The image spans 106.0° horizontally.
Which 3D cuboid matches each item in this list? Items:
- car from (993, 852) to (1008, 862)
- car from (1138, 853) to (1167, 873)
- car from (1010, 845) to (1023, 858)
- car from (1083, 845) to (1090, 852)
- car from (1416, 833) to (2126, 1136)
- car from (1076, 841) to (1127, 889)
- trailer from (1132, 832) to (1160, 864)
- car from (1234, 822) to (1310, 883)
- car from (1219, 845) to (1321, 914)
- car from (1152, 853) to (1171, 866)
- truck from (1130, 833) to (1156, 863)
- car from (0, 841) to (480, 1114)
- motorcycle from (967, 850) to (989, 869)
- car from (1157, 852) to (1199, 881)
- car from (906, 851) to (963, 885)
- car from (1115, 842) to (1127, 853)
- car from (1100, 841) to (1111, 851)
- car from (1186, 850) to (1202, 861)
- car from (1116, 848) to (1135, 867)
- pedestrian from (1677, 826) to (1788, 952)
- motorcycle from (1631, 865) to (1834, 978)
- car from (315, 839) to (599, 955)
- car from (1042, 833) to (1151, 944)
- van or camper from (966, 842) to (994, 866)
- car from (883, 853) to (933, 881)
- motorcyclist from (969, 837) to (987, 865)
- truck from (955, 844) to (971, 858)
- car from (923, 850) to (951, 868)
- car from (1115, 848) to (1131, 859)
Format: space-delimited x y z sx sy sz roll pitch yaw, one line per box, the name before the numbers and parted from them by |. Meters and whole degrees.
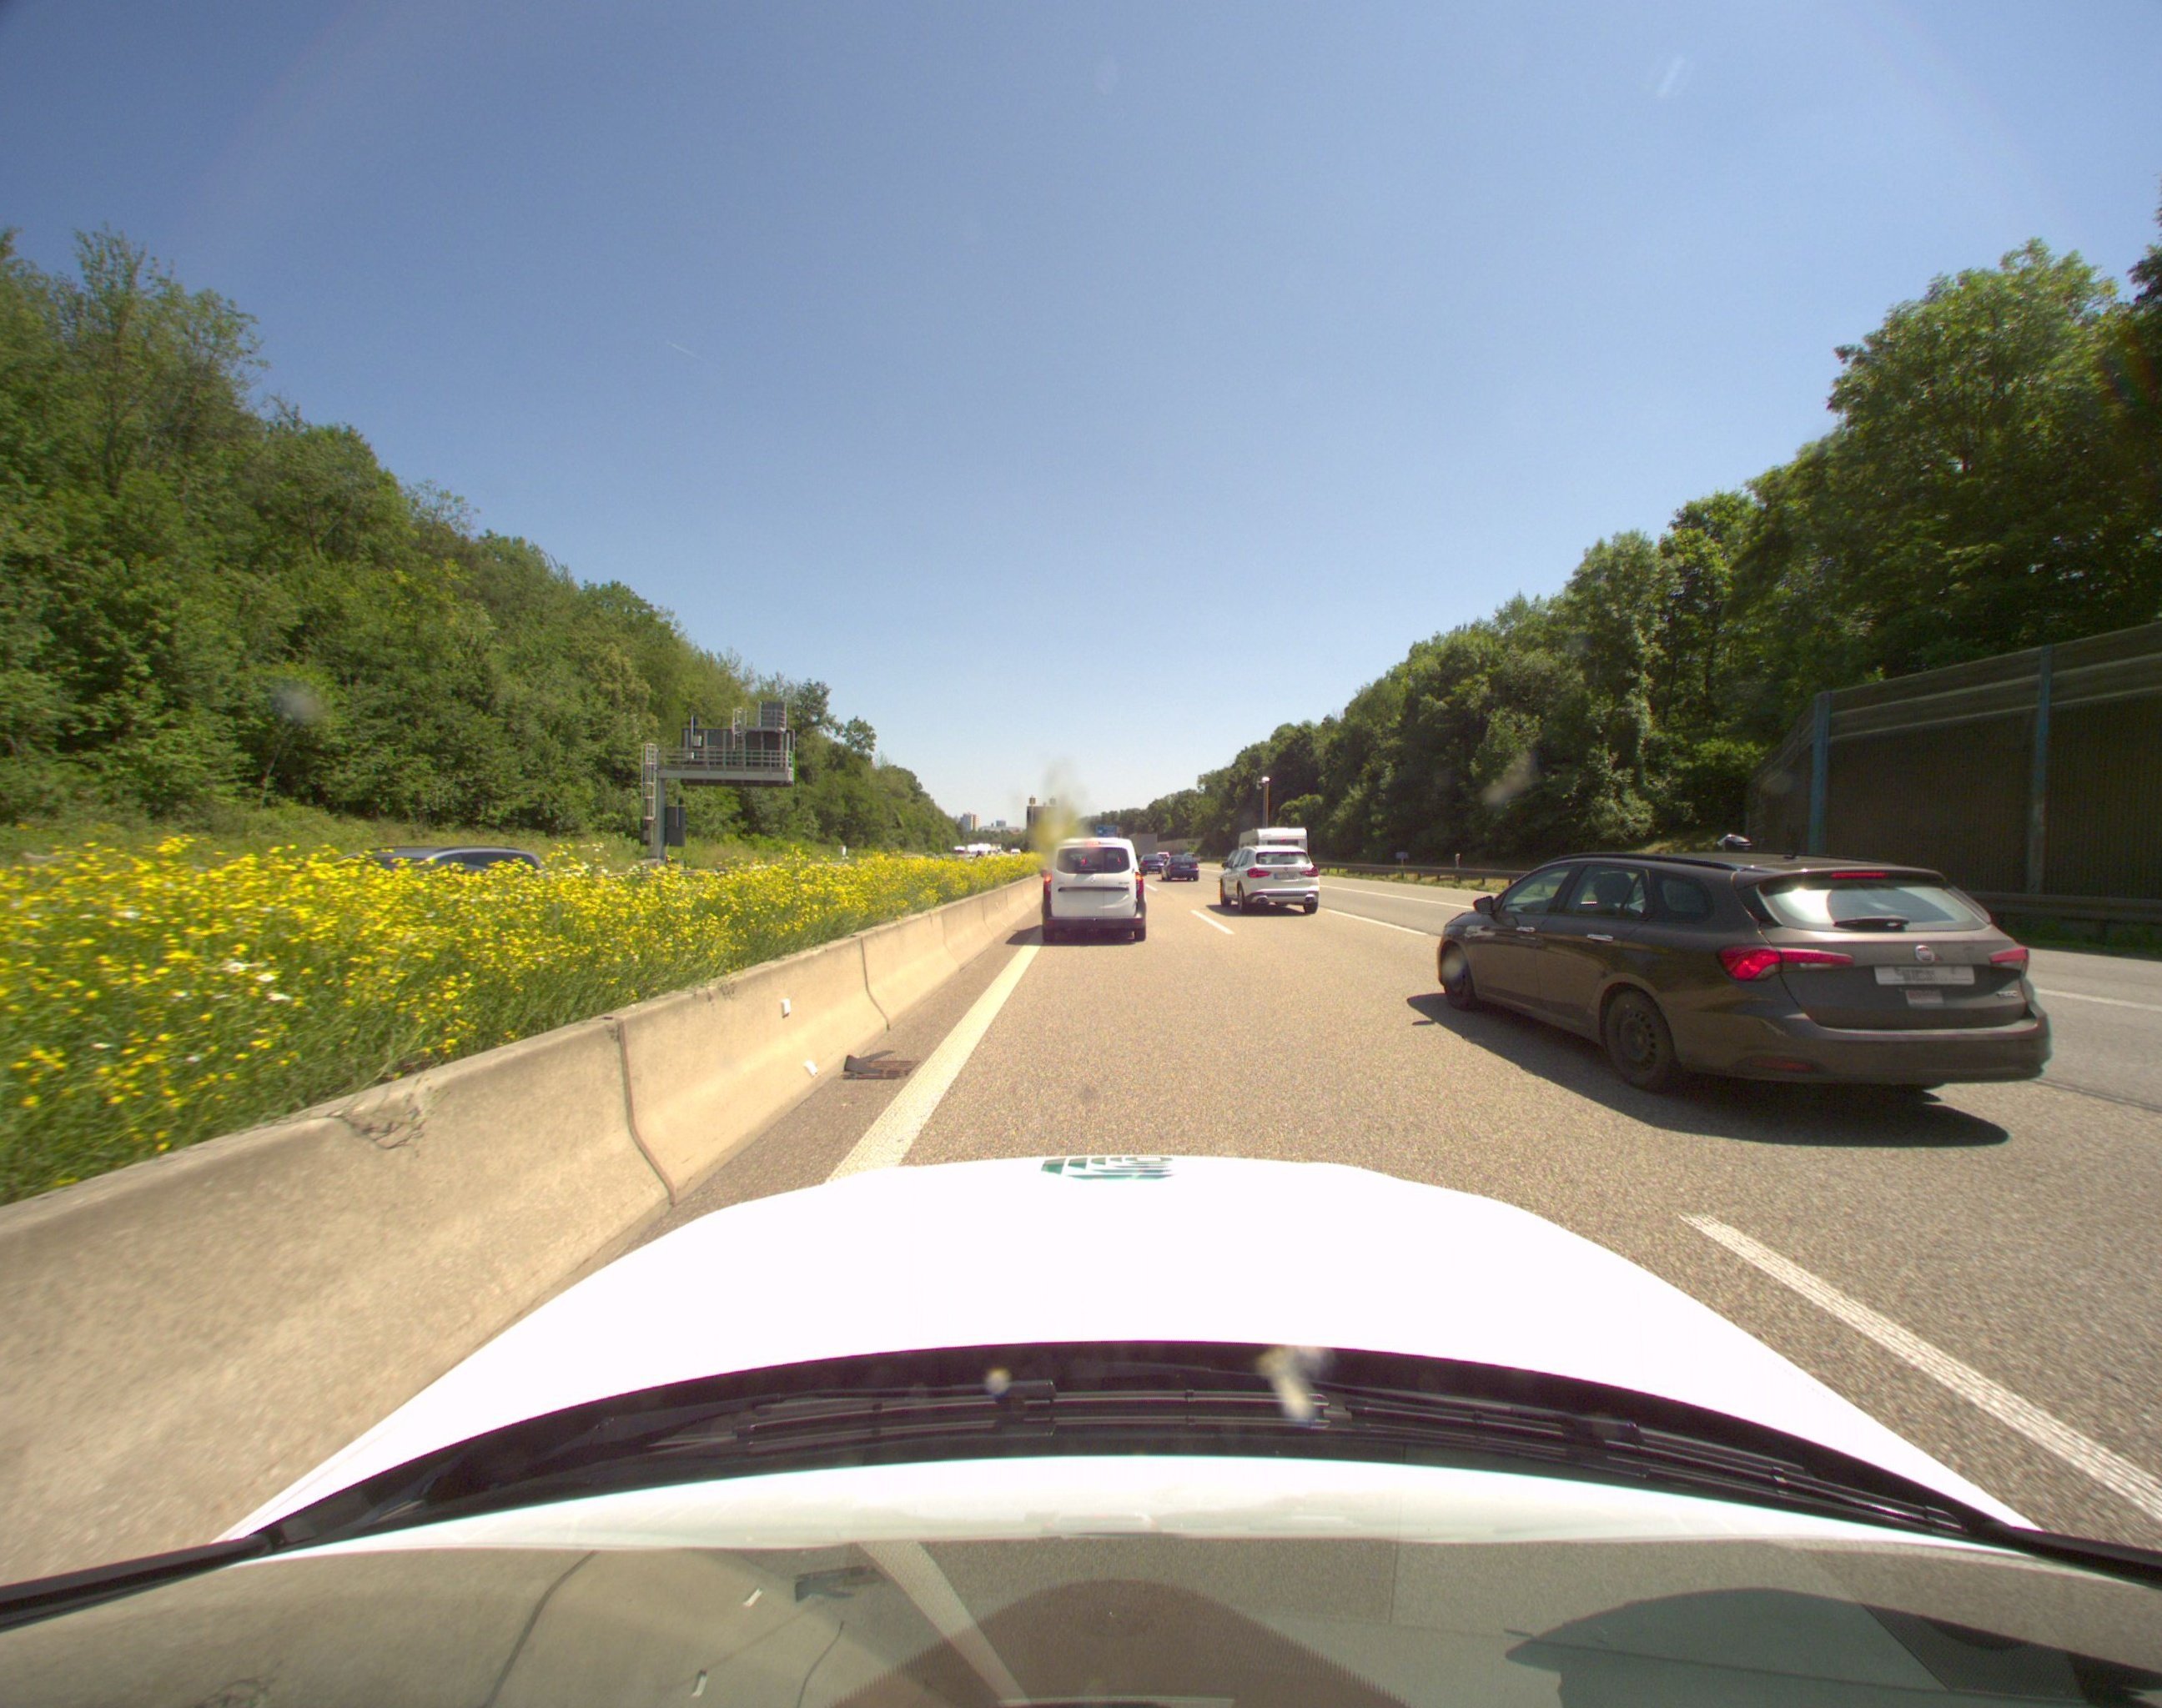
car | -13.494 0.461 136.990 1.986 1.575 4.001 -1 0 1
car | 5.130 0.627 58.968 1.817 1.424 4.001 -1 0 1
car | -13.445 -0.542 170.439 1.986 2.541 5.910 -1 0 1
car | 1.532 -1.547 235.590 1.986 2.013 4.001 -1 0 1
car | 4.358 0.627 6.280 1.832 1.513 4.403 0 1 1
car | 0.841 0.424 33.768 1.986 1.860 4.001 -1 0 1
trailer | 8.504 -0.765 108.011 3.071 3.985 10.325 -1 0 1
car | 9.429 -0.070 40.824 2.470 2.765 6.221 -1 0 1
car | 4.753 0.569 21.003 1.864 1.608 3.881 0 1 2
car | 8.789 0.595 89.106 1.817 1.424 4.001 -1 0 1
truck | 8.645 -0.795 115.012 3.071 3.985 9.648 -1 0 1
car | -6.764 0.681 5.918 1.730 1.498 4.002 -1 0 2
motorcycle | -6.819 0.375 54.244 1.036 1.215 2.614 -1 0 1
car | 5.077 0.620 43.222 1.817 1.424 4.001 -1 0 1
car | -6.846 0.625 38.473 1.833 1.497 4.001 -1 0 1
car | 7.186 -1.164 145.103 1.986 2.013 4.001 -1 0 1
car | 4.859 -1.628 161.903 1.989 2.013 3.996 -1 0 -3
car | 15.040 0.186 108.538 1.781 1.519 4.001 -1 0 1
car | 4.651 0.349 84.762 1.817 1.989 4.001 -1 0 1
pedestrian | 7.884 0.410 9.888 0.847 1.478 0.639 0 0 5
motorcycle | 7.911 0.755 10.067 0.855 1.181 2.280 0 1 5
car | -10.612 0.637 14.328 1.730 1.733 4.149 -1 0 1
car | 0.275 0.561 15.479 1.796 1.808 4.000 -1 0 0
van or camper | -11.581 -0.024 93.865 2.301 2.636 7.398 -1 0 0
car | -10.001 0.735 47.397 1.832 1.522 4.359 -1 0 1
motorcyclist | -6.830 -0.188 54.123 1.028 1.786 1.284 -1 0 1
truck | -24.789 -0.622 171.298 2.399 3.005 7.458 -1 0 0
car | -13.832 0.439 78.540 1.749 1.696 4.424 -1 0 1
car | 5.391 -0.076 104.692 1.817 1.447 4.001 -1 0 1
